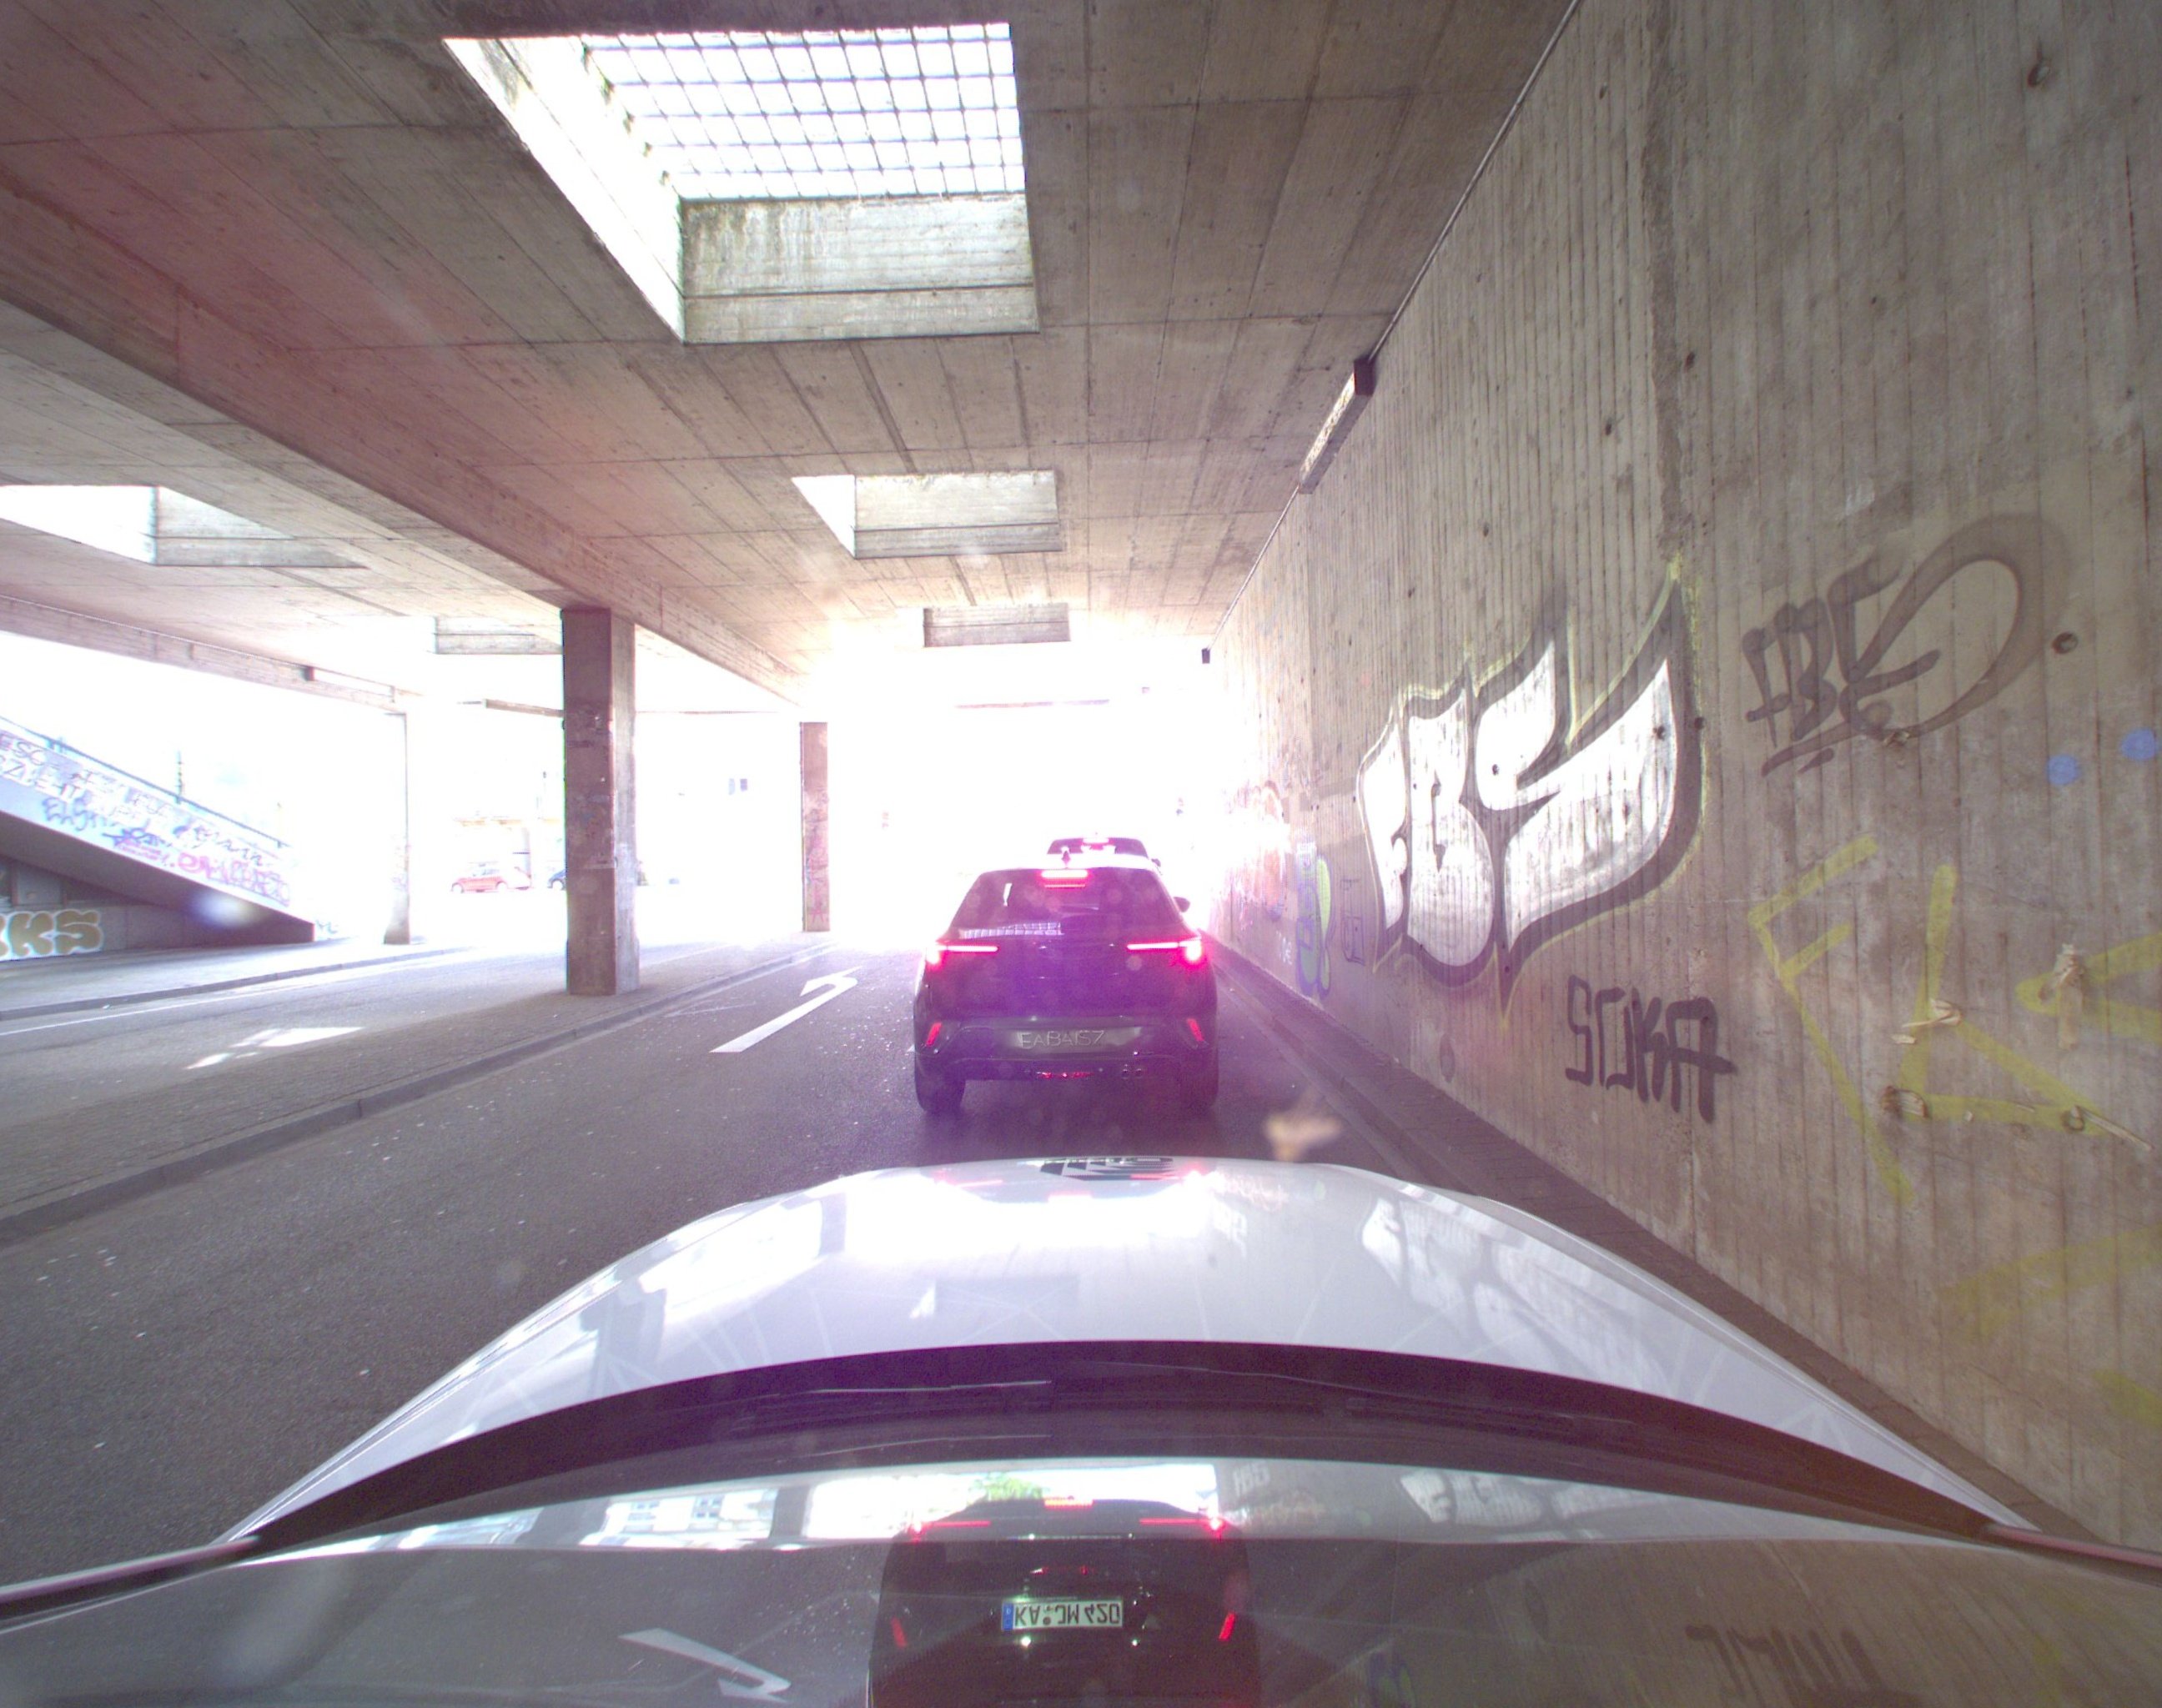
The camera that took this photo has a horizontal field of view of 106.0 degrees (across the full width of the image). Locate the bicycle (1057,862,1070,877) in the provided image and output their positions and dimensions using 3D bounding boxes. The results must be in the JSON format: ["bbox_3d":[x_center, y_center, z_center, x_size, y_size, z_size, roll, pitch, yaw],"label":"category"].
[{"bbox_3d":[-1.309,1.146,60.222,0.621,1.067,1.694,0,-1,11],"label":"bicycle"}]

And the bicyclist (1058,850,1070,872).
[{"bbox_3d":[-1.247,0.511,60.363,0.724,1.581,0.817,0,-1,11],"label":"bicyclist"}]

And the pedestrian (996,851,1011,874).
[{"bbox_3d":[-7.060,0.760,74.160,0.986,2.013,1.091,-2,0,10],"label":"pedestrian"}]

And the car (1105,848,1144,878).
[{"bbox_3d":[2.402,0.510,44.271,1.959,1.497,3.900,-1,-2,4],"label":"car"}]

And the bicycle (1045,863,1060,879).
[{"bbox_3d":[-1.916,1.122,55.169,0.621,1.067,1.694,0,-1,11],"label":"bicycle"}]

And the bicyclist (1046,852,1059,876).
[{"bbox_3d":[-1.906,0.664,55.190,0.724,1.581,0.817,0,-1,11],"label":"bicyclist"}]

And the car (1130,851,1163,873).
[{"bbox_3d":[5.580,0.706,69.041,2.206,1.719,4.474,-2,-2,12],"label":"car"}]

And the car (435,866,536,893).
[{"bbox_3d":[-33.020,1.404,45.242,3.970,1.374,2.192,-1,0,3],"label":"car"}]

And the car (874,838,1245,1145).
[{"bbox_3d":[-0.052,0.710,6.192,1.875,1.538,3.966,-2,0,2],"label":"car"}]

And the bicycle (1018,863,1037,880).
[{"bbox_3d":[-3.396,1.102,51.748,0.727,1.067,1.694,0,-1,11],"label":"bicycle"}]

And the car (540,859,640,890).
[{"bbox_3d":[-27.215,1.127,45.243,4.114,1.550,2.268,-1,0,1],"label":"car"}]

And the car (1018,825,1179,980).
[{"bbox_3d":[0.280,0.594,12.013,1.938,1.860,3.966,-2,0,2],"label":"car"}]

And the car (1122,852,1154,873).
[{"bbox_3d":[4.399,0.657,62.256,1.955,1.497,3.908,-2,-2,11],"label":"car"}]

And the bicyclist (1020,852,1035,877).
[{"bbox_3d":[-3.385,0.644,51.783,0.724,1.581,0.817,0,-1,11],"label":"bicyclist"}]
